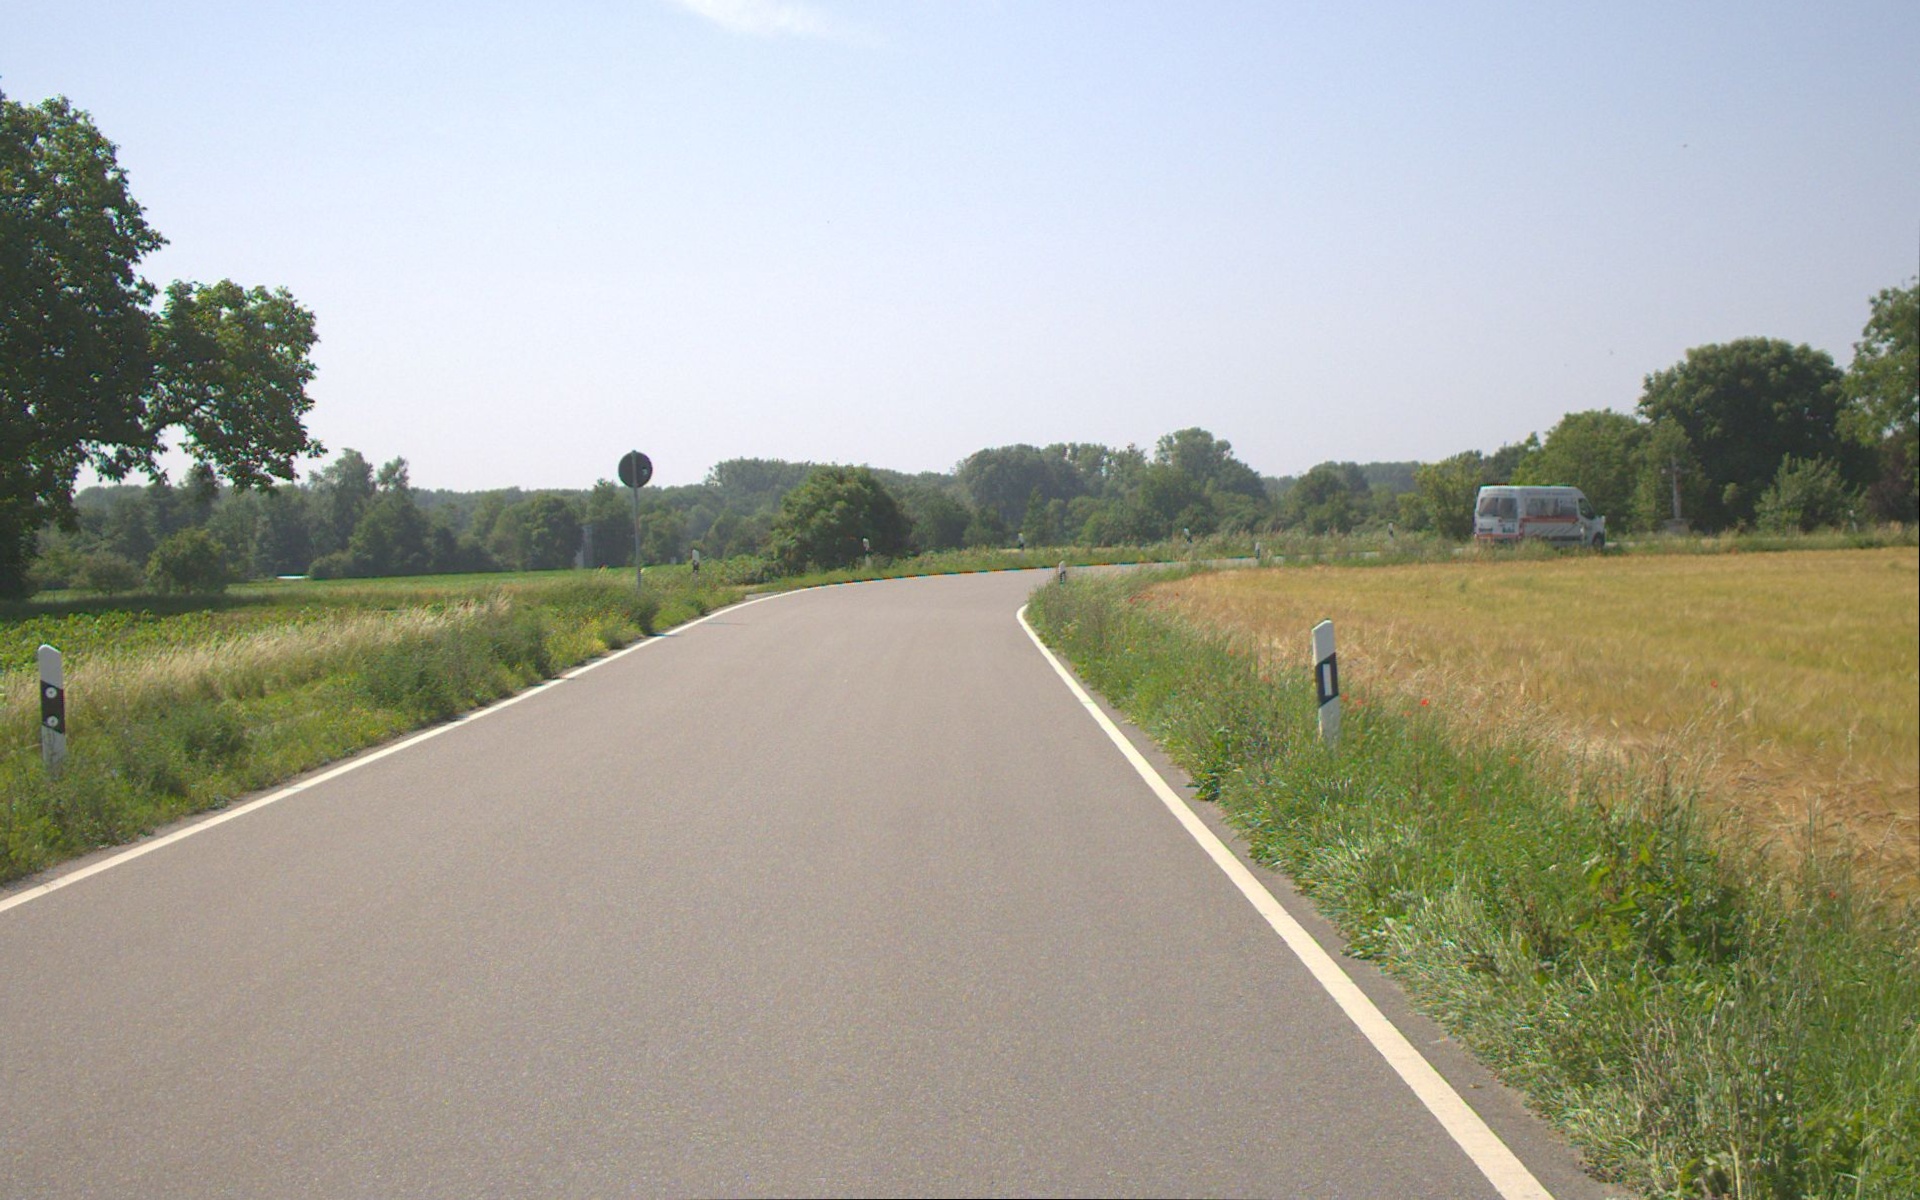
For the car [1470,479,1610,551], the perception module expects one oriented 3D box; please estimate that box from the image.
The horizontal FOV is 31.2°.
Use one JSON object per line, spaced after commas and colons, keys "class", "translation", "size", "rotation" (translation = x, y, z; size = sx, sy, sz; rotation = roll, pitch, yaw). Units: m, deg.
{"class": "car", "translation": [20.746, -3.060, 122.798], "size": [2.109, 2.359, 5.673], "rotation": [-1, 2, 42]}
